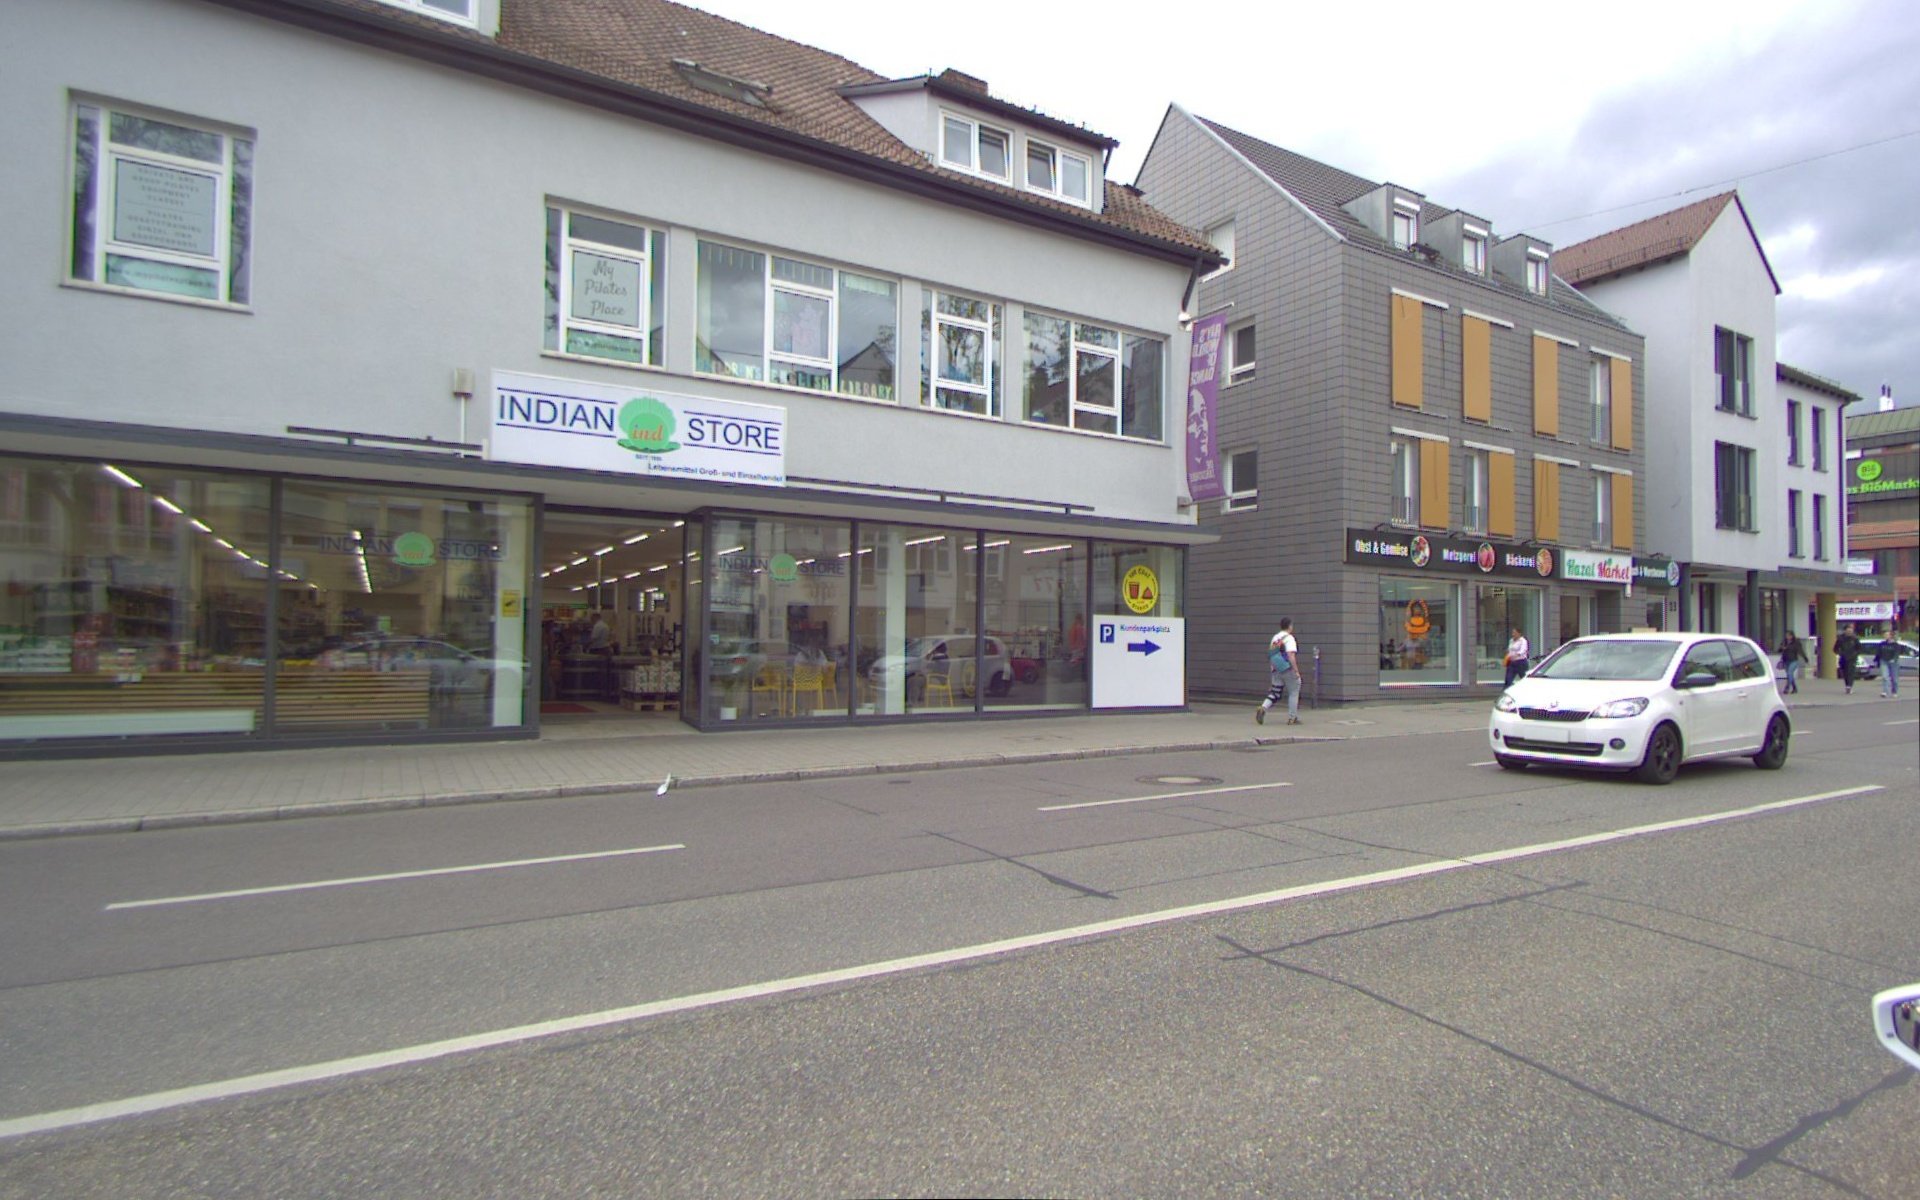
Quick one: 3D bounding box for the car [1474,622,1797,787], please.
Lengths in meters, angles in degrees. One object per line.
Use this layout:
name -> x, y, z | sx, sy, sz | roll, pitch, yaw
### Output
car -> 7.286, 1.027, 10.796 | 3.424, 1.508, 1.566 | 1, -3, -31

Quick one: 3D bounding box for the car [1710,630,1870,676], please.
car -> 36.766, 2.330, 44.646 | 1.980, 1.913, 5.110 | 1, -3, -34

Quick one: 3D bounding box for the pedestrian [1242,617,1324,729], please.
pedestrian -> 5.222, 1.159, 16.260 | 0.969, 1.728, 0.750 | 1, 1, -30

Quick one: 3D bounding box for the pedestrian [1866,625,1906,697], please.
pedestrian -> 24.102, 1.573, 26.150 | 0.643, 1.814, 0.676 | 1, -2, -40

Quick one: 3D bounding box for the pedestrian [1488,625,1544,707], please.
pedestrian -> 11.447, 1.342, 20.676 | 0.744, 1.631, 0.725 | 1, -2, -30

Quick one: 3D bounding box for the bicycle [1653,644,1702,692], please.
bicycle -> 18.440, 1.726, 25.812 | 1.806, 1.201, 0.384 | 1, -2, -33

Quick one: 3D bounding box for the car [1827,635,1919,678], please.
car -> 40.707, 2.452, 43.673 | 1.311, 1.797, 4.367 | 1, -2, -29

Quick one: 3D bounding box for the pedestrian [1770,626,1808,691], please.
pedestrian -> 21.971, 1.538, 26.620 | 0.554, 1.672, 0.647 | 1, -2, -36

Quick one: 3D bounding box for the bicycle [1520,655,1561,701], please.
bicycle -> 12.764, 1.706, 22.081 | 1.472, 0.966, 0.323 | 2, -2, -41

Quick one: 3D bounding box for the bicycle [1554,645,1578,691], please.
bicycle -> 15.736, 1.751, 26.114 | 0.380, 1.142, 1.289 | -1, -2, 25

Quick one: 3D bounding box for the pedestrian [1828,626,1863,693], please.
pedestrian -> 24.000, 1.594, 27.230 | 0.641, 1.799, 0.565 | 1, -2, -36
